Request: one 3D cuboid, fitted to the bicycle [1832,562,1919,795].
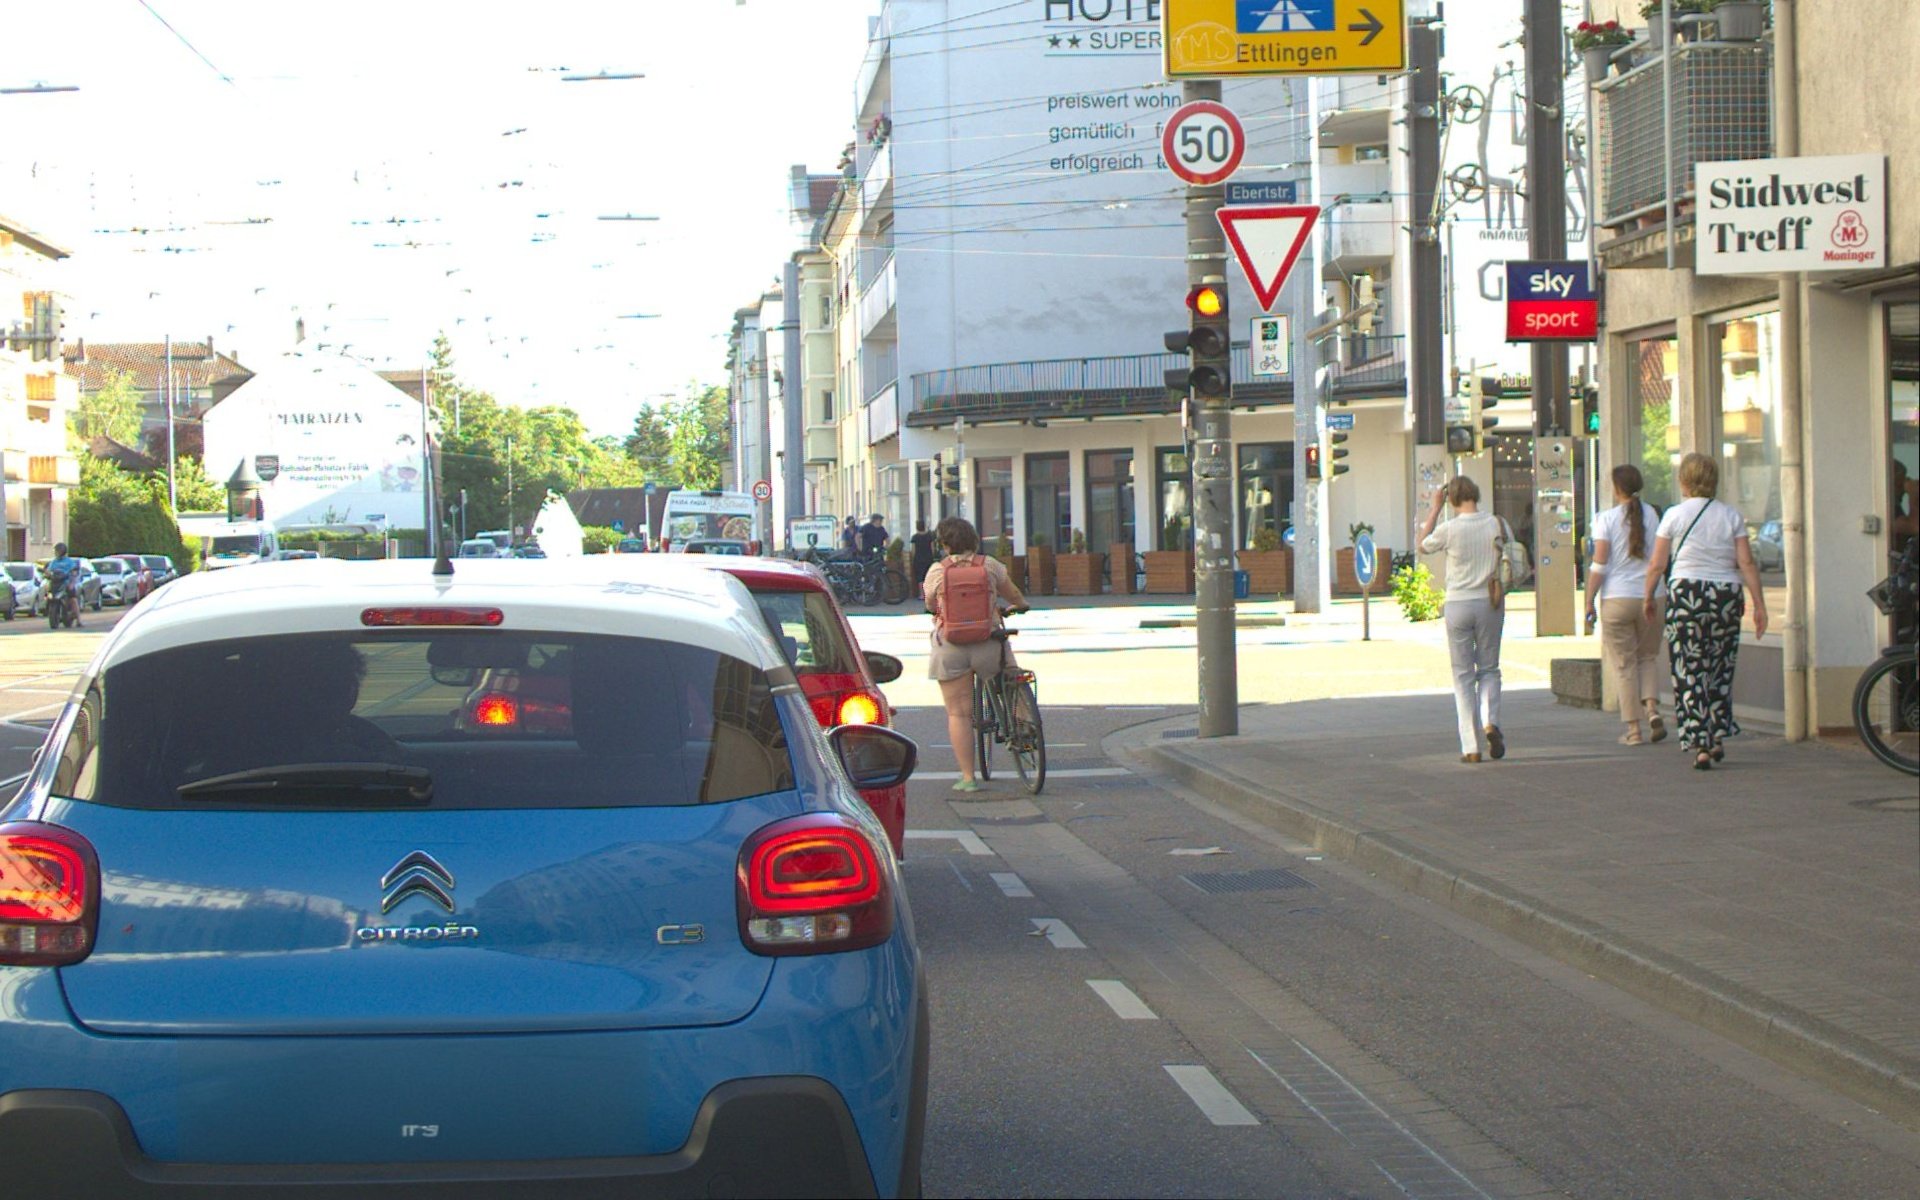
[{"bbox_3d":[4.724,0.368,16.382,0.530,1.068,1.811,-1,1,-5],"label":"bicycle"}]

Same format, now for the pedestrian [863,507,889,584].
[{"bbox_3d":[-1.722,-1.115,70.489,0.491,1.550,0.384,-1,1,-4],"label":"pedestrian"}]

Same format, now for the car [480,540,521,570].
[{"bbox_3d":[-25.008,-2.451,187.130,2.021,1.520,4.001,-2,1,-5],"label":"car"}]

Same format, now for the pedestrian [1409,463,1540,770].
[{"bbox_3d":[2.884,0.078,19.295,0.541,1.666,0.624,-3,3,-3],"label":"pedestrian"}]

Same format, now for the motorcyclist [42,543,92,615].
[{"bbox_3d":[-17.538,-0.415,67.515,0.719,1.373,0.911,-1,1,-1],"label":"motorcyclist"}]

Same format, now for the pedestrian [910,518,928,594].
[{"bbox_3d":[-0.849,-0.906,70.721,0.284,1.550,0.305,-1,1,-10],"label":"pedestrian"}]

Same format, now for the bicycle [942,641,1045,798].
[{"bbox_3d":[0.193,0.716,21.260,0.498,0.861,1.749,-1,1,-4],"label":"bicycle"}]

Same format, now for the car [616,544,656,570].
[{"bbox_3d":[-16.024,-2.137,170.010,1.754,1.255,3.833,-1,1,-8],"label":"car"}]

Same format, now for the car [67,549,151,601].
[{"bbox_3d":[-26.301,-0.790,106.363,1.910,1.492,4.001,-1,1,-5],"label":"car"}]

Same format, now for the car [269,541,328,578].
[{"bbox_3d":[-27.841,-1.714,144.699,2.021,1.520,4.001,-1,1,-5],"label":"car"}]

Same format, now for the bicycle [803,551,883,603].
[{"bbox_3d":[-2.256,-0.446,66.573,1.504,0.953,0.702,-1,1,1],"label":"bicycle"}]

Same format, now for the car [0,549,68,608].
[{"bbox_3d":[-25.294,-0.592,92.398,1.910,1.492,4.001,-1,1,-5],"label":"car"}]

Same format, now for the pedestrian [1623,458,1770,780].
[{"bbox_3d":[3.930,0.092,18.379,0.541,1.666,0.650,-3,1,-3],"label":"pedestrian"}]

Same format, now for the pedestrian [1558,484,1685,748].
[{"bbox_3d":[3.908,0.086,20.329,0.541,1.502,0.611,-3,3,-3],"label":"pedestrian"}]

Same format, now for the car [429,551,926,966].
[{"bbox_3d":[-1.049,0.535,14.218,1.738,1.415,4.000,-1,1,-1],"label":"car"}]

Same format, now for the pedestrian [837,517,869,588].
[{"bbox_3d":[-2.352,-1.053,75.899,0.492,1.550,0.647,-1,1,17],"label":"pedestrian"}]

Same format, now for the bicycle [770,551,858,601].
[{"bbox_3d":[-2.929,-0.478,68.983,1.720,0.953,0.702,-1,1,1],"label":"bicycle"}]

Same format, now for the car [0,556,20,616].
[{"bbox_3d":[-24.953,-0.329,86.267,1.910,1.492,4.001,-1,1,-5],"label":"car"}]

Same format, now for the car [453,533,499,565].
[{"bbox_3d":[-23.860,-2.521,169.721,2.021,1.520,4.001,-1,1,-5],"label":"car"}]

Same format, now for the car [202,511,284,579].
[{"bbox_3d":[-24.900,-1.926,119.583,2.206,2.243,4.678,-1,1,-5],"label":"car"}]

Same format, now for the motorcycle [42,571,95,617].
[{"bbox_3d":[-17.546,-0.131,67.676,0.615,0.861,1.671,-1,1,-1],"label":"motorcycle"}]

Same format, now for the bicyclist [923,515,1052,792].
[{"bbox_3d":[0.157,0.310,20.895,0.726,1.640,0.790,-1,1,-1],"label":"bicyclist"}]

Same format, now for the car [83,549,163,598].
[{"bbox_3d":[-27.086,-0.861,111.353,1.910,1.492,4.001,-1,1,-5],"label":"car"}]

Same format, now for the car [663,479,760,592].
[{"bbox_3d":[-5.279,-1.367,72.972,1.993,2.317,4.001,0,1,-4],"label":"car"}]

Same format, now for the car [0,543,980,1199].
[{"bbox_3d":[-1.087,0.617,7.242,1.743,1.457,4.001,0,1,-7],"label":"car"}]

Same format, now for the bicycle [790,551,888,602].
[{"bbox_3d":[-2.372,-0.463,67.631,1.874,0.953,0.702,-1,1,1],"label":"bicycle"}]

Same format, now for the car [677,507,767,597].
[{"bbox_3d":[-4.728,-0.950,68.069,1.732,1.744,3.214,0,1,-4],"label":"car"}]

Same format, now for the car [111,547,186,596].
[{"bbox_3d":[-27.455,-0.989,116.441,1.870,1.568,4.001,-1,1,-5],"label":"car"}]

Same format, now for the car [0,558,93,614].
[{"bbox_3d":[-26.020,-0.410,97.966,1.910,1.492,4.001,-1,1,-5],"label":"car"}]
